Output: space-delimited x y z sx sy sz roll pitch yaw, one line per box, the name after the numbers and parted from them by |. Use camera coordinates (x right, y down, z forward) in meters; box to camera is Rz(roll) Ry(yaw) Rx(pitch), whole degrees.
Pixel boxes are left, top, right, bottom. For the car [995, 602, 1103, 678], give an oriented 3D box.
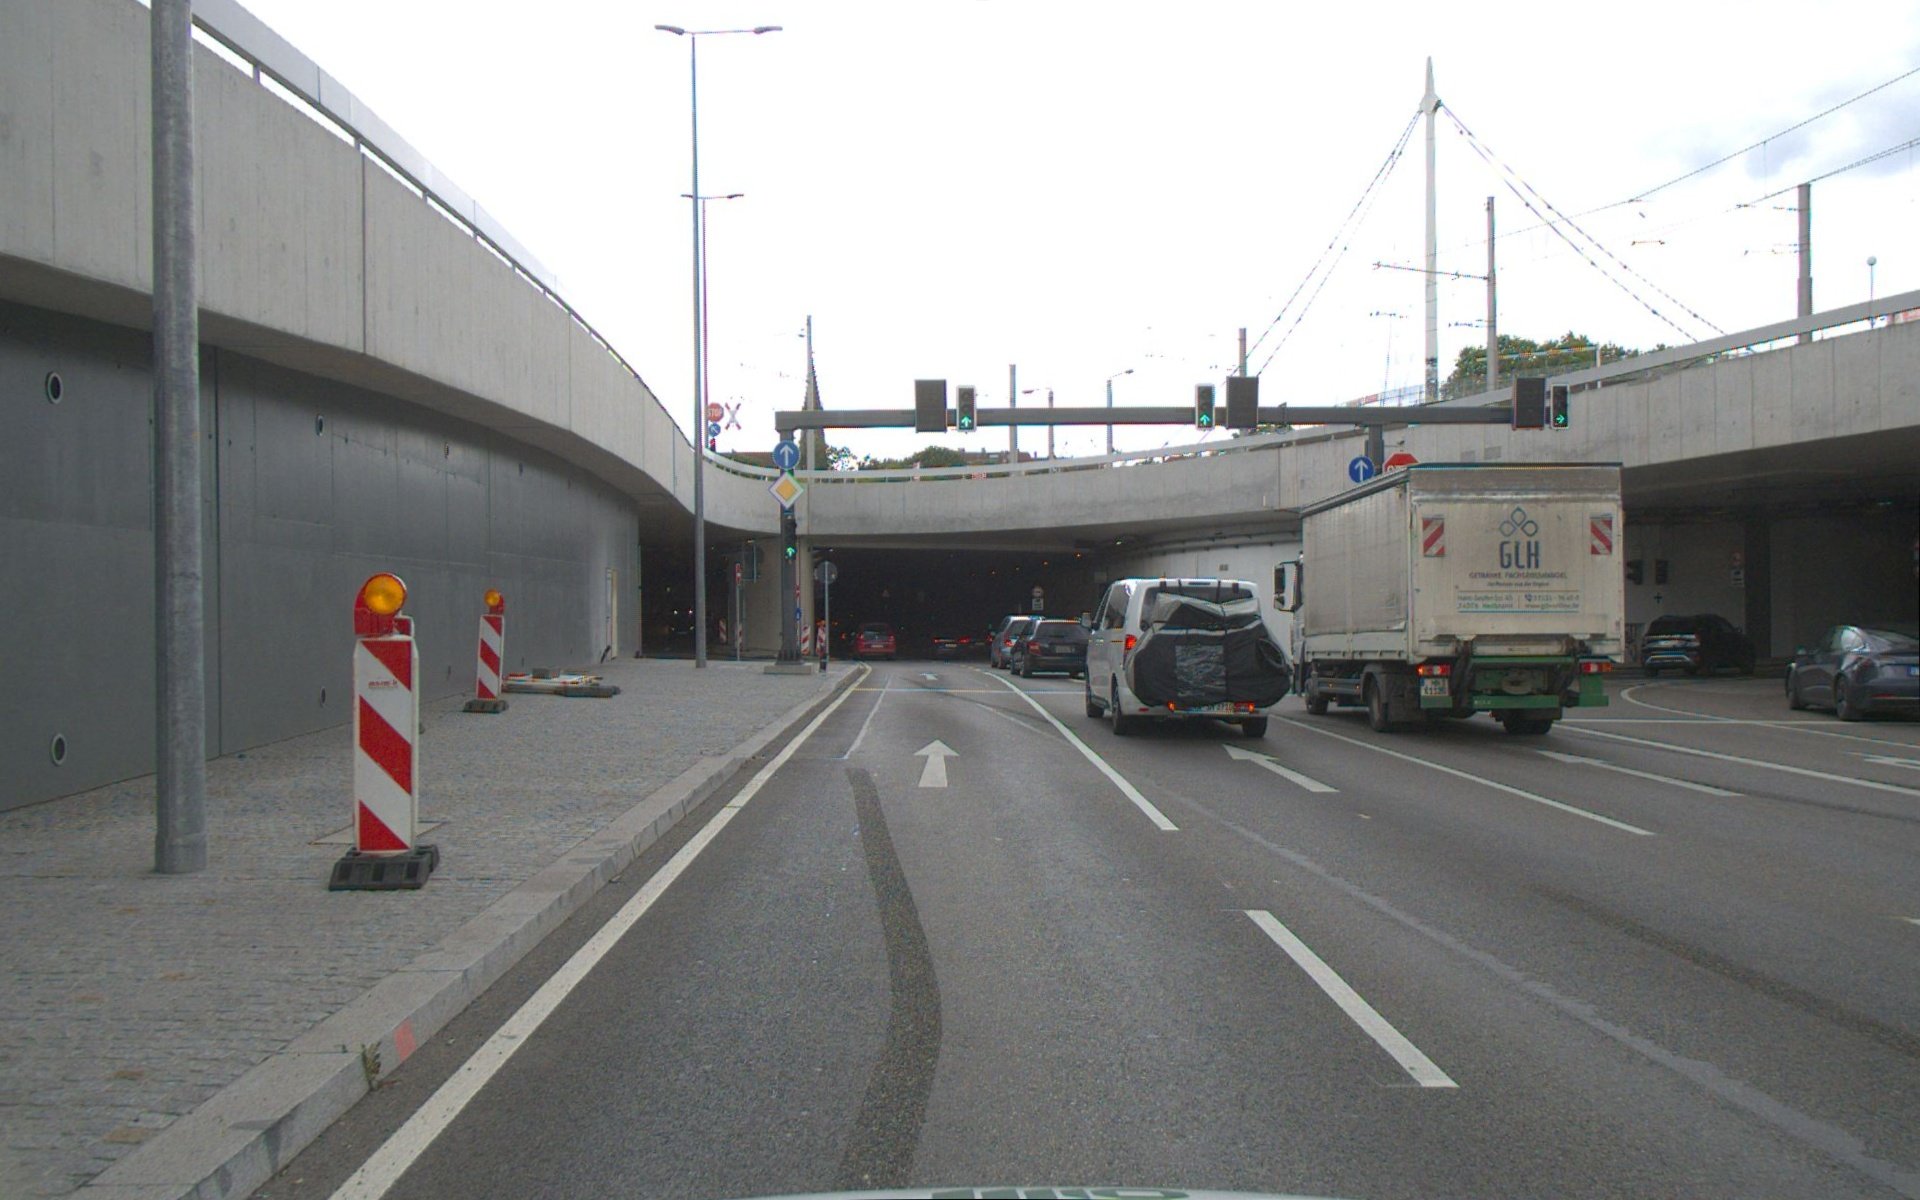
2.079 0.940 39.825 1.785 1.713 3.991 1 -1 -9 | car

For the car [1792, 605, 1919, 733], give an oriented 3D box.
14.271 0.988 25.336 1.952 1.425 4.471 -4 2 18 | car

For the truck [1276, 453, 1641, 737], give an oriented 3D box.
6.417 -0.042 22.642 2.596 3.241 7.423 0 0 -1 | truck

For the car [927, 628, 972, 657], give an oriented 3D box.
-0.495 1.931 75.267 1.632 1.269 3.560 0 -1 -8 | car

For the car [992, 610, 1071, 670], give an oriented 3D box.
2.099 1.171 49.508 1.783 1.608 3.996 4 0 -5 | car

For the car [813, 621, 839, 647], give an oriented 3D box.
-10.864 2.743 133.926 1.955 2.049 3.994 0 0 -7 | car

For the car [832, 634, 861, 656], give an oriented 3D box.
-6.696 2.655 97.139 1.480 1.269 3.560 0 -1 -8 | car

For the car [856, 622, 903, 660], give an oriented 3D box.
-3.341 1.693 68.118 1.629 1.514 3.560 0 -1 -8 | car

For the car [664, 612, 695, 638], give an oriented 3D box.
-16.303 1.421 96.075 1.635 1.466 4.101 0 0 -11 | car

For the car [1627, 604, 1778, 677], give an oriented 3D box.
19.562 1.031 43.531 3.954 1.616 1.811 -4 2 -35 | car

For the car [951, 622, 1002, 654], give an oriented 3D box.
0.839 2.042 89.501 1.954 1.705 4.496 0 -1 -10 | car

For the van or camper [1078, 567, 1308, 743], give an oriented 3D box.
2.730 0.676 20.716 1.953 1.877 5.505 1 -2 -2 | van or camper

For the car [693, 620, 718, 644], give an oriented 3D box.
-19.239 2.412 125.198 1.774 1.632 4.778 -1 1 -8 | car
